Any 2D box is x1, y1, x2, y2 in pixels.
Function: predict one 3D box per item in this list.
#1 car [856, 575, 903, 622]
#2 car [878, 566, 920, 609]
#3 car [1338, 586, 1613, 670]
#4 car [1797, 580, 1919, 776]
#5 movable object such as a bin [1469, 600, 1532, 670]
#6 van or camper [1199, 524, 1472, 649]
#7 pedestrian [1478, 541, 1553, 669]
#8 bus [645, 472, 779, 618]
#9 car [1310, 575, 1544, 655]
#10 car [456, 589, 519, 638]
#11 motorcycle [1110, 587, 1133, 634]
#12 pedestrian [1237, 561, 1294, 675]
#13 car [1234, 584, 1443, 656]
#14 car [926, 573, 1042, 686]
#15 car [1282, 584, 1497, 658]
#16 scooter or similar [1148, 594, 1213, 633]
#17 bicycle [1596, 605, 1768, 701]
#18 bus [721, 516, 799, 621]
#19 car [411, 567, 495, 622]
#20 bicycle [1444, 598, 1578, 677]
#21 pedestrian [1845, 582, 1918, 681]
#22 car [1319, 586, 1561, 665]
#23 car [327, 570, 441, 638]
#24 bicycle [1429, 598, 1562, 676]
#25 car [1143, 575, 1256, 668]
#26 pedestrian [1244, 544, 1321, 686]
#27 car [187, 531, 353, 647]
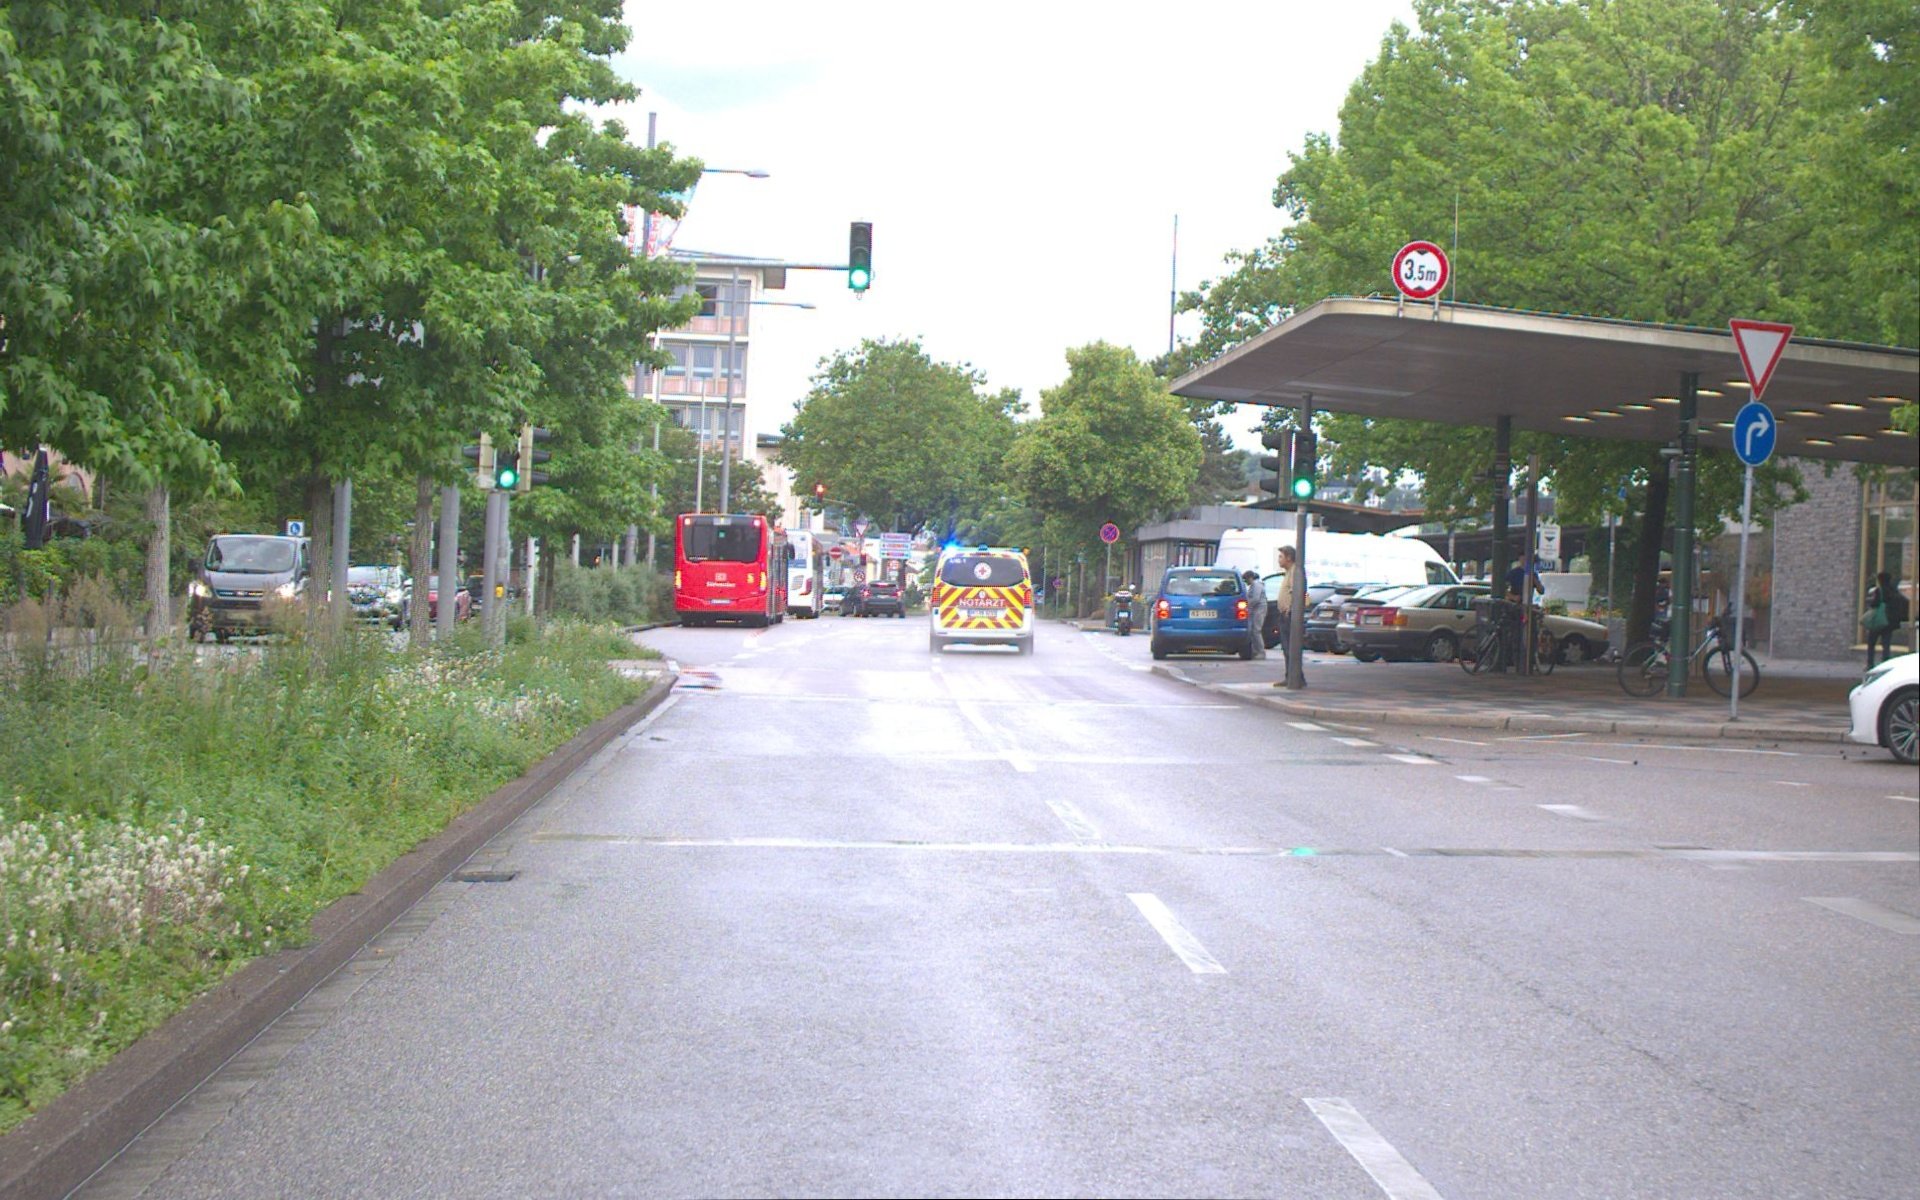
[{"bbox_3d":[-3.484,-0.082,148.349,1.993,2.007,4.000,0,0,-1],"label":"car"},{"bbox_3d":[-2.913,-0.604,163.749,1.993,2.007,4.000,0,0,-1],"label":"car"},{"bbox_3d":[8.655,0.470,57.705,4.184,1.321,1.841,1,0,-21],"label":"car"},{"bbox_3d":[9.027,0.629,26.675,1.759,1.540,4.775,1,0,-41],"label":"car"},{"bbox_3d":[8.277,0.535,52.685,0.751,1.063,0.749,0,0,-10],"label":"movable object such as a bin"},{"bbox_3d":[8.553,-0.314,78.171,5.946,2.753,2.199,0,0,-28],"label":"van or camper"},{"bbox_3d":[8.041,0.079,49.824,0.856,1.829,1.190,0,-1,-2],"label":"pedestrian"},{"bbox_3d":[-7.064,-1.529,99.398,3.544,3.966,11.172,0,0,-3],"label":"bus"},{"bbox_3d":[8.775,0.286,64.571,3.986,1.438,1.865,1,0,-28],"label":"car"},{"bbox_3d":[-15.078,0.418,109.790,1.597,1.525,3.653,0,0,-1],"label":"car"},{"bbox_3d":[4.471,0.279,94.977,0.595,1.284,1.953,0,0,4],"label":"motorcycle"},{"bbox_3d":[5.414,0.319,60.932,0.831,2.007,0.889,0,0,-6],"label":"pedestrian"},{"bbox_3d":[7.941,0.428,72.106,3.986,1.438,1.865,1,0,-28],"label":"car"},{"bbox_3d":[0.408,0.515,63.797,1.993,2.007,5.062,0,0,-1],"label":"car"},{"bbox_3d":[8.739,0.431,69.923,3.986,1.438,1.865,1,0,-28],"label":"car"},{"bbox_3d":[6.281,0.374,97.732,2.145,1.106,0.427,0,1,-41],"label":"scooter or similar"},{"bbox_3d":[8.079,0.593,38.472,1.827,1.052,0.420,0,0,-2],"label":"bicycle"},{"bbox_3d":[-7.492,-1.149,128.892,2.805,3.734,10.446,0,0,-3],"label":"bus"},{"bbox_3d":[-13.576,-0.151,92.263,1.747,1.425,3.953,0,0,-1],"label":"car"},{"bbox_3d":[7.517,0.509,46.890,1.827,1.052,0.420,0,0,-19],"label":"bicycle"},{"bbox_3d":[14.562,0.496,54.336,0.865,1.553,0.814,0,0,-8],"label":"pedestrian"},{"bbox_3d":[8.572,0.457,61.370,3.987,1.354,1.865,1,0,-32],"label":"car"},{"bbox_3d":[-13.452,0.078,80.574,1.993,1.538,4.633,0,0,-1],"label":"car"},{"bbox_3d":[7.378,0.500,47.377,1.827,1.052,0.420,0,0,-19],"label":"bicycle"},{"bbox_3d":[4.201,0.384,60.730,1.859,1.564,4.000,1,0,2],"label":"car"},{"bbox_3d":[3.990,0.185,42.599,0.746,1.741,0.836,1,0,-10],"label":"pedestrian"},{"bbox_3d":[-12.383,-0.199,62.001,1.993,2.007,5.001,0,0,0],"label":"car"}]
